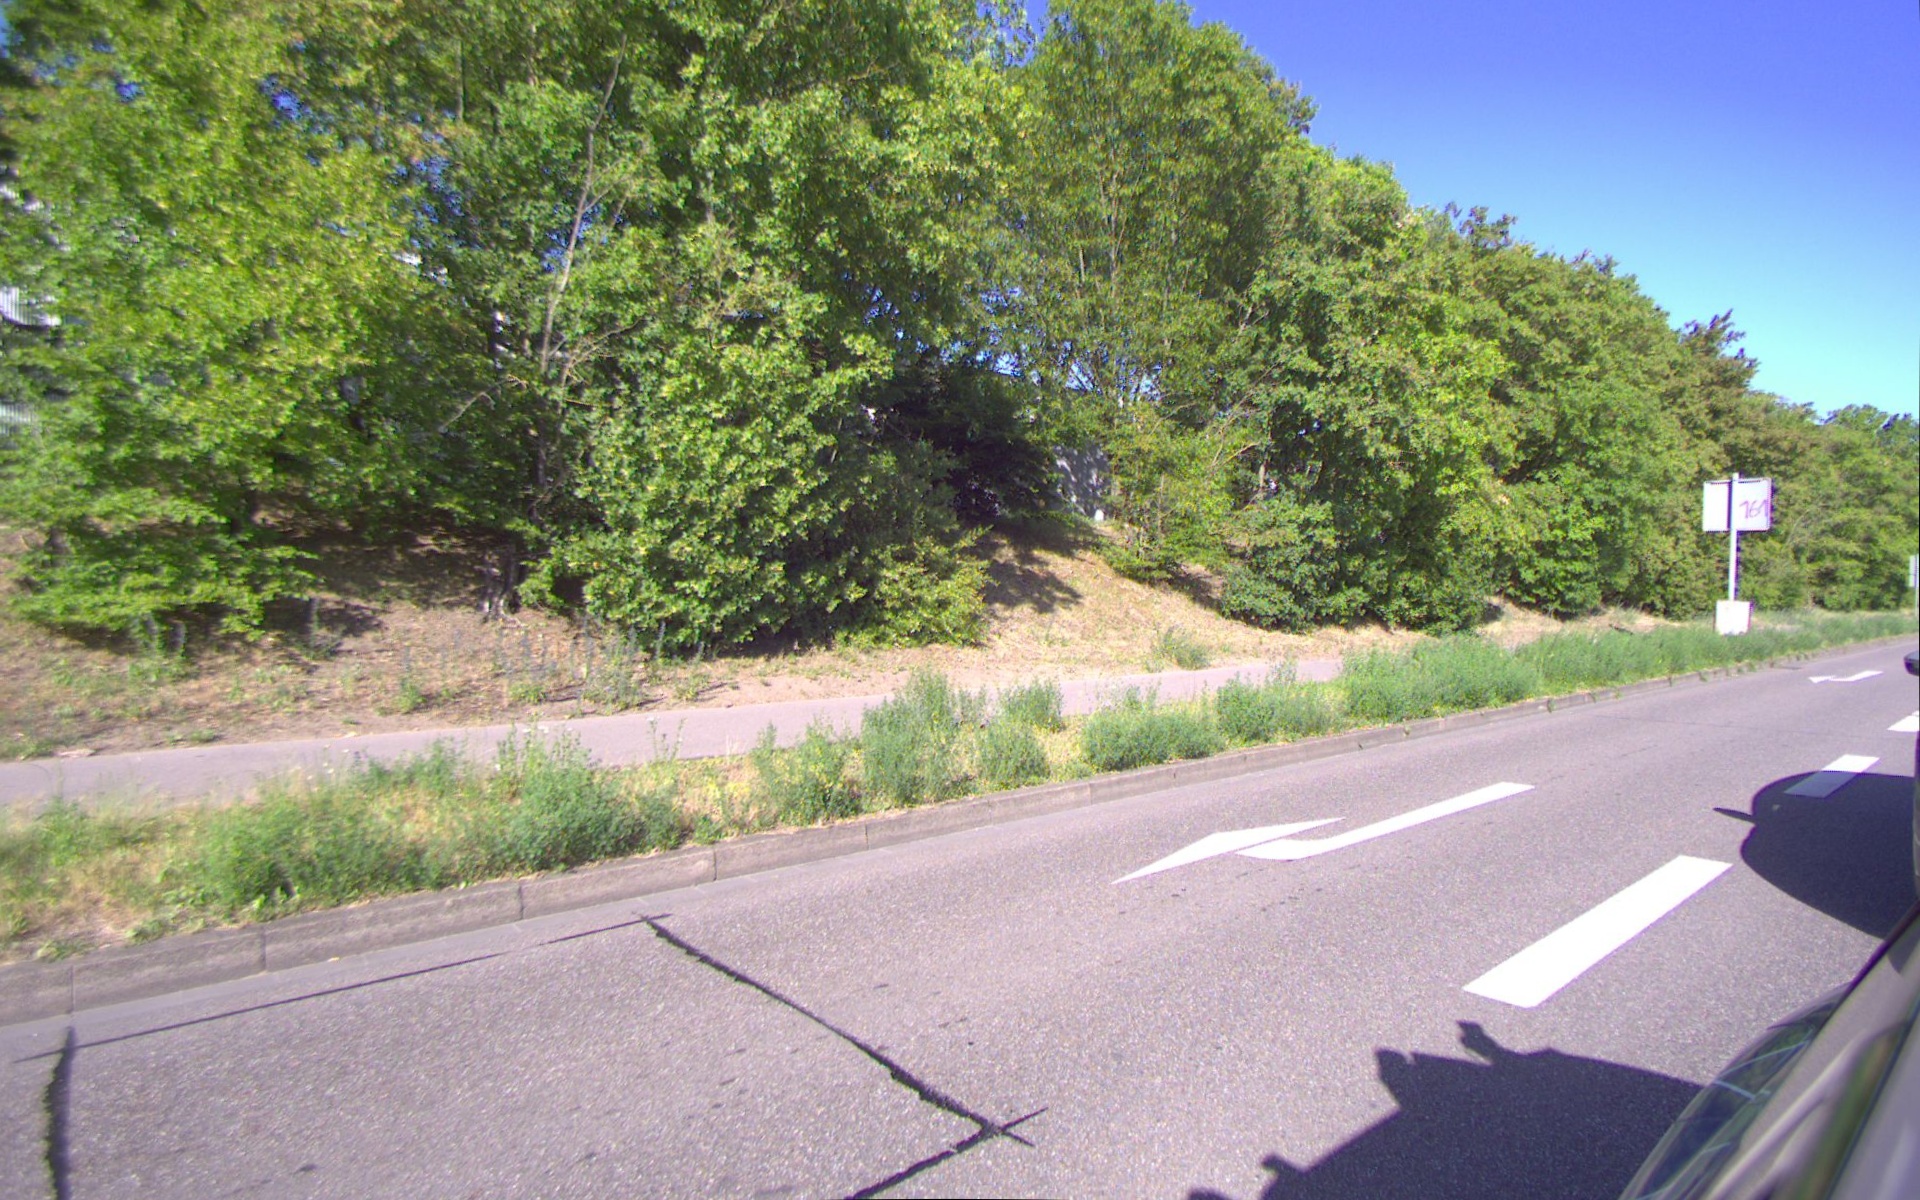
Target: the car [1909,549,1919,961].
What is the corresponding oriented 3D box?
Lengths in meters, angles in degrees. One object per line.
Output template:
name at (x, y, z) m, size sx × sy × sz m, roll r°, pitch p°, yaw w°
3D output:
car at (5.936, 0.592, 4.704) m, size 4.327 × 1.603 × 1.860 m, roll 0°, pitch 0°, yaw -42°
